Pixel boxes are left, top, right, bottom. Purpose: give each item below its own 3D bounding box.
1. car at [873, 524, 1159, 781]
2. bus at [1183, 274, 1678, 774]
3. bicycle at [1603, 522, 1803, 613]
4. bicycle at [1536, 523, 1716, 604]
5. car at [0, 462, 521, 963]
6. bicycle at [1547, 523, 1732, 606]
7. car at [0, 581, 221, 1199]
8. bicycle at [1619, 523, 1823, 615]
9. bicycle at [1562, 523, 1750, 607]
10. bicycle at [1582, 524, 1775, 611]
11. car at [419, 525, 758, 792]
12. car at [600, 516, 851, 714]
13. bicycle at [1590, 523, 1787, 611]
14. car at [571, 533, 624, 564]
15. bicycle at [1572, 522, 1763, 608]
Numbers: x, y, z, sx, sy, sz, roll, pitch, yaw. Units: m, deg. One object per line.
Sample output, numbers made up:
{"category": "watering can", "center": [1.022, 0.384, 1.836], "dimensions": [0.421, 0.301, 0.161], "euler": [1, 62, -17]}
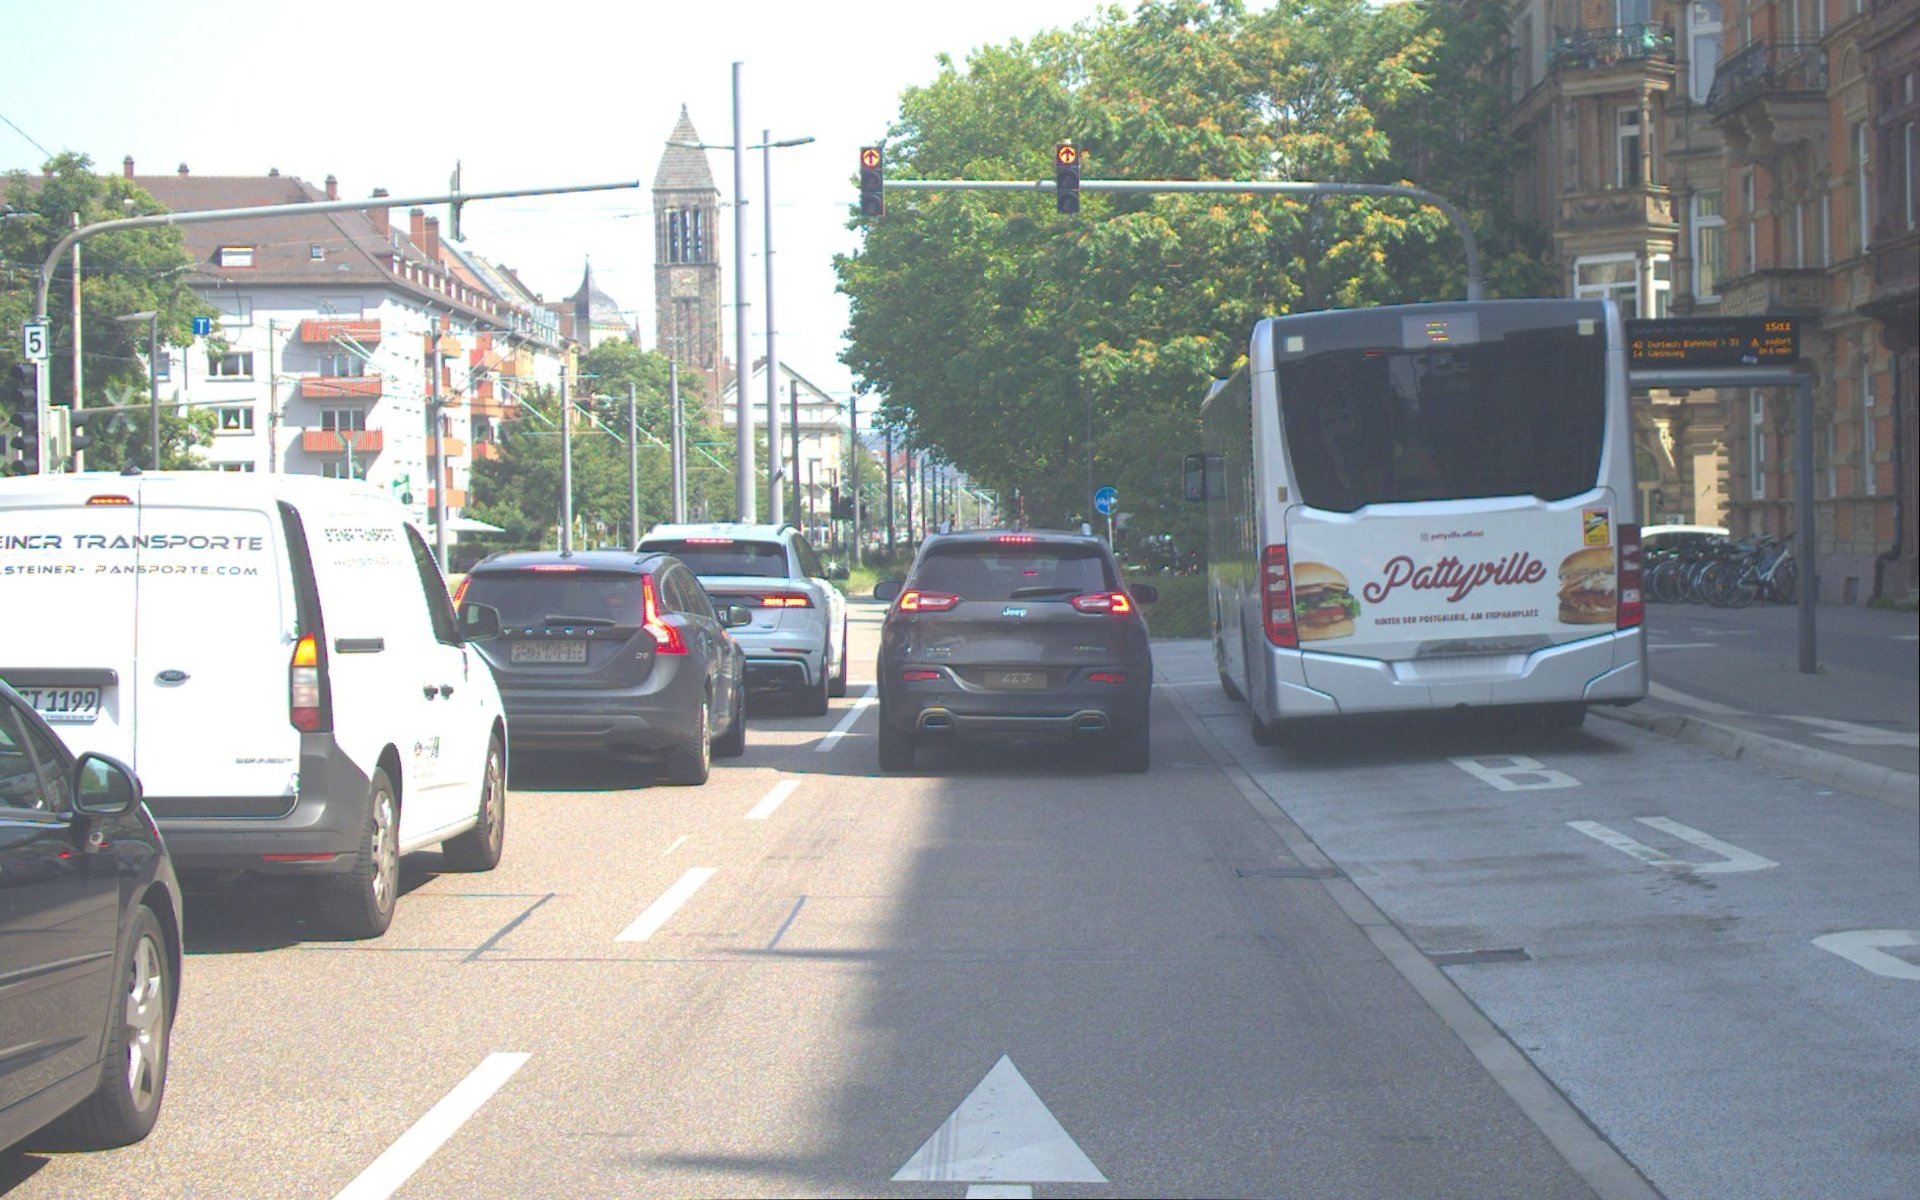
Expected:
{"category": "car", "center": [0.426, 0.292, 24.368], "dimensions": [1.833, 1.646, 4.308], "euler": [1, 1, 2]}
{"category": "bus", "center": [3.447, -0.599, 28.340], "dimensions": [2.743, 3.096, 11.955], "euler": [-3, 1, 2]}
{"category": "bicycle", "center": [11.855, -0.524, 54.925], "dimensions": [2.993, 1.366, 0.871], "euler": [-1, 1, 0]}
{"category": "bicycle", "center": [11.833, -0.656, 61.152], "dimensions": [3.004, 1.368, 0.947], "euler": [-1, 1, 0]}
{"category": "car", "center": [-3.030, 0.366, 14.584], "dimensions": [1.747, 1.814, 4.239], "euler": [0, 1, 1]}
{"category": "bicycle", "center": [11.811, -0.627, 59.835], "dimensions": [3.004, 1.368, 0.947], "euler": [-1, 1, 0]}
{"category": "car", "center": [-2.839, 0.686, 7.327], "dimensions": [1.688, 1.409, 3.802], "euler": [0, 1, 0]}
{"category": "bicycle", "center": [11.941, -0.491, 54.017], "dimensions": [2.993, 1.366, 0.871], "euler": [-1, 1, 0]}
{"category": "bicycle", "center": [11.888, -0.599, 58.823], "dimensions": [3.004, 1.368, 0.947], "euler": [-1, 1, 0]}
{"category": "bicycle", "center": [11.857, -0.546, 56.785], "dimensions": [2.993, 1.366, 0.871], "euler": [-1, 1, 0]}
{"category": "car", "center": [-2.385, 0.311, 23.014], "dimensions": [1.747, 1.609, 4.308], "euler": [0, 1, 1]}
{"category": "car", "center": [-2.028, 0.072, 30.815], "dimensions": [1.902, 1.646, 4.308], "euler": [0, 1, 1]}
{"category": "bicycle", "center": [11.824, -0.542, 55.838], "dimensions": [2.993, 1.366, 0.871], "euler": [-1, 1, 0]}
{"category": "car", "center": [-17.899, -2.560, 170.047], "dimensions": [1.746, 1.430, 4.572], "euler": [-2, 1, 5]}
{"category": "bicycle", "center": [11.866, -0.586, 57.729], "dimensions": [3.004, 1.368, 0.947], "euler": [-1, 1, 0]}
